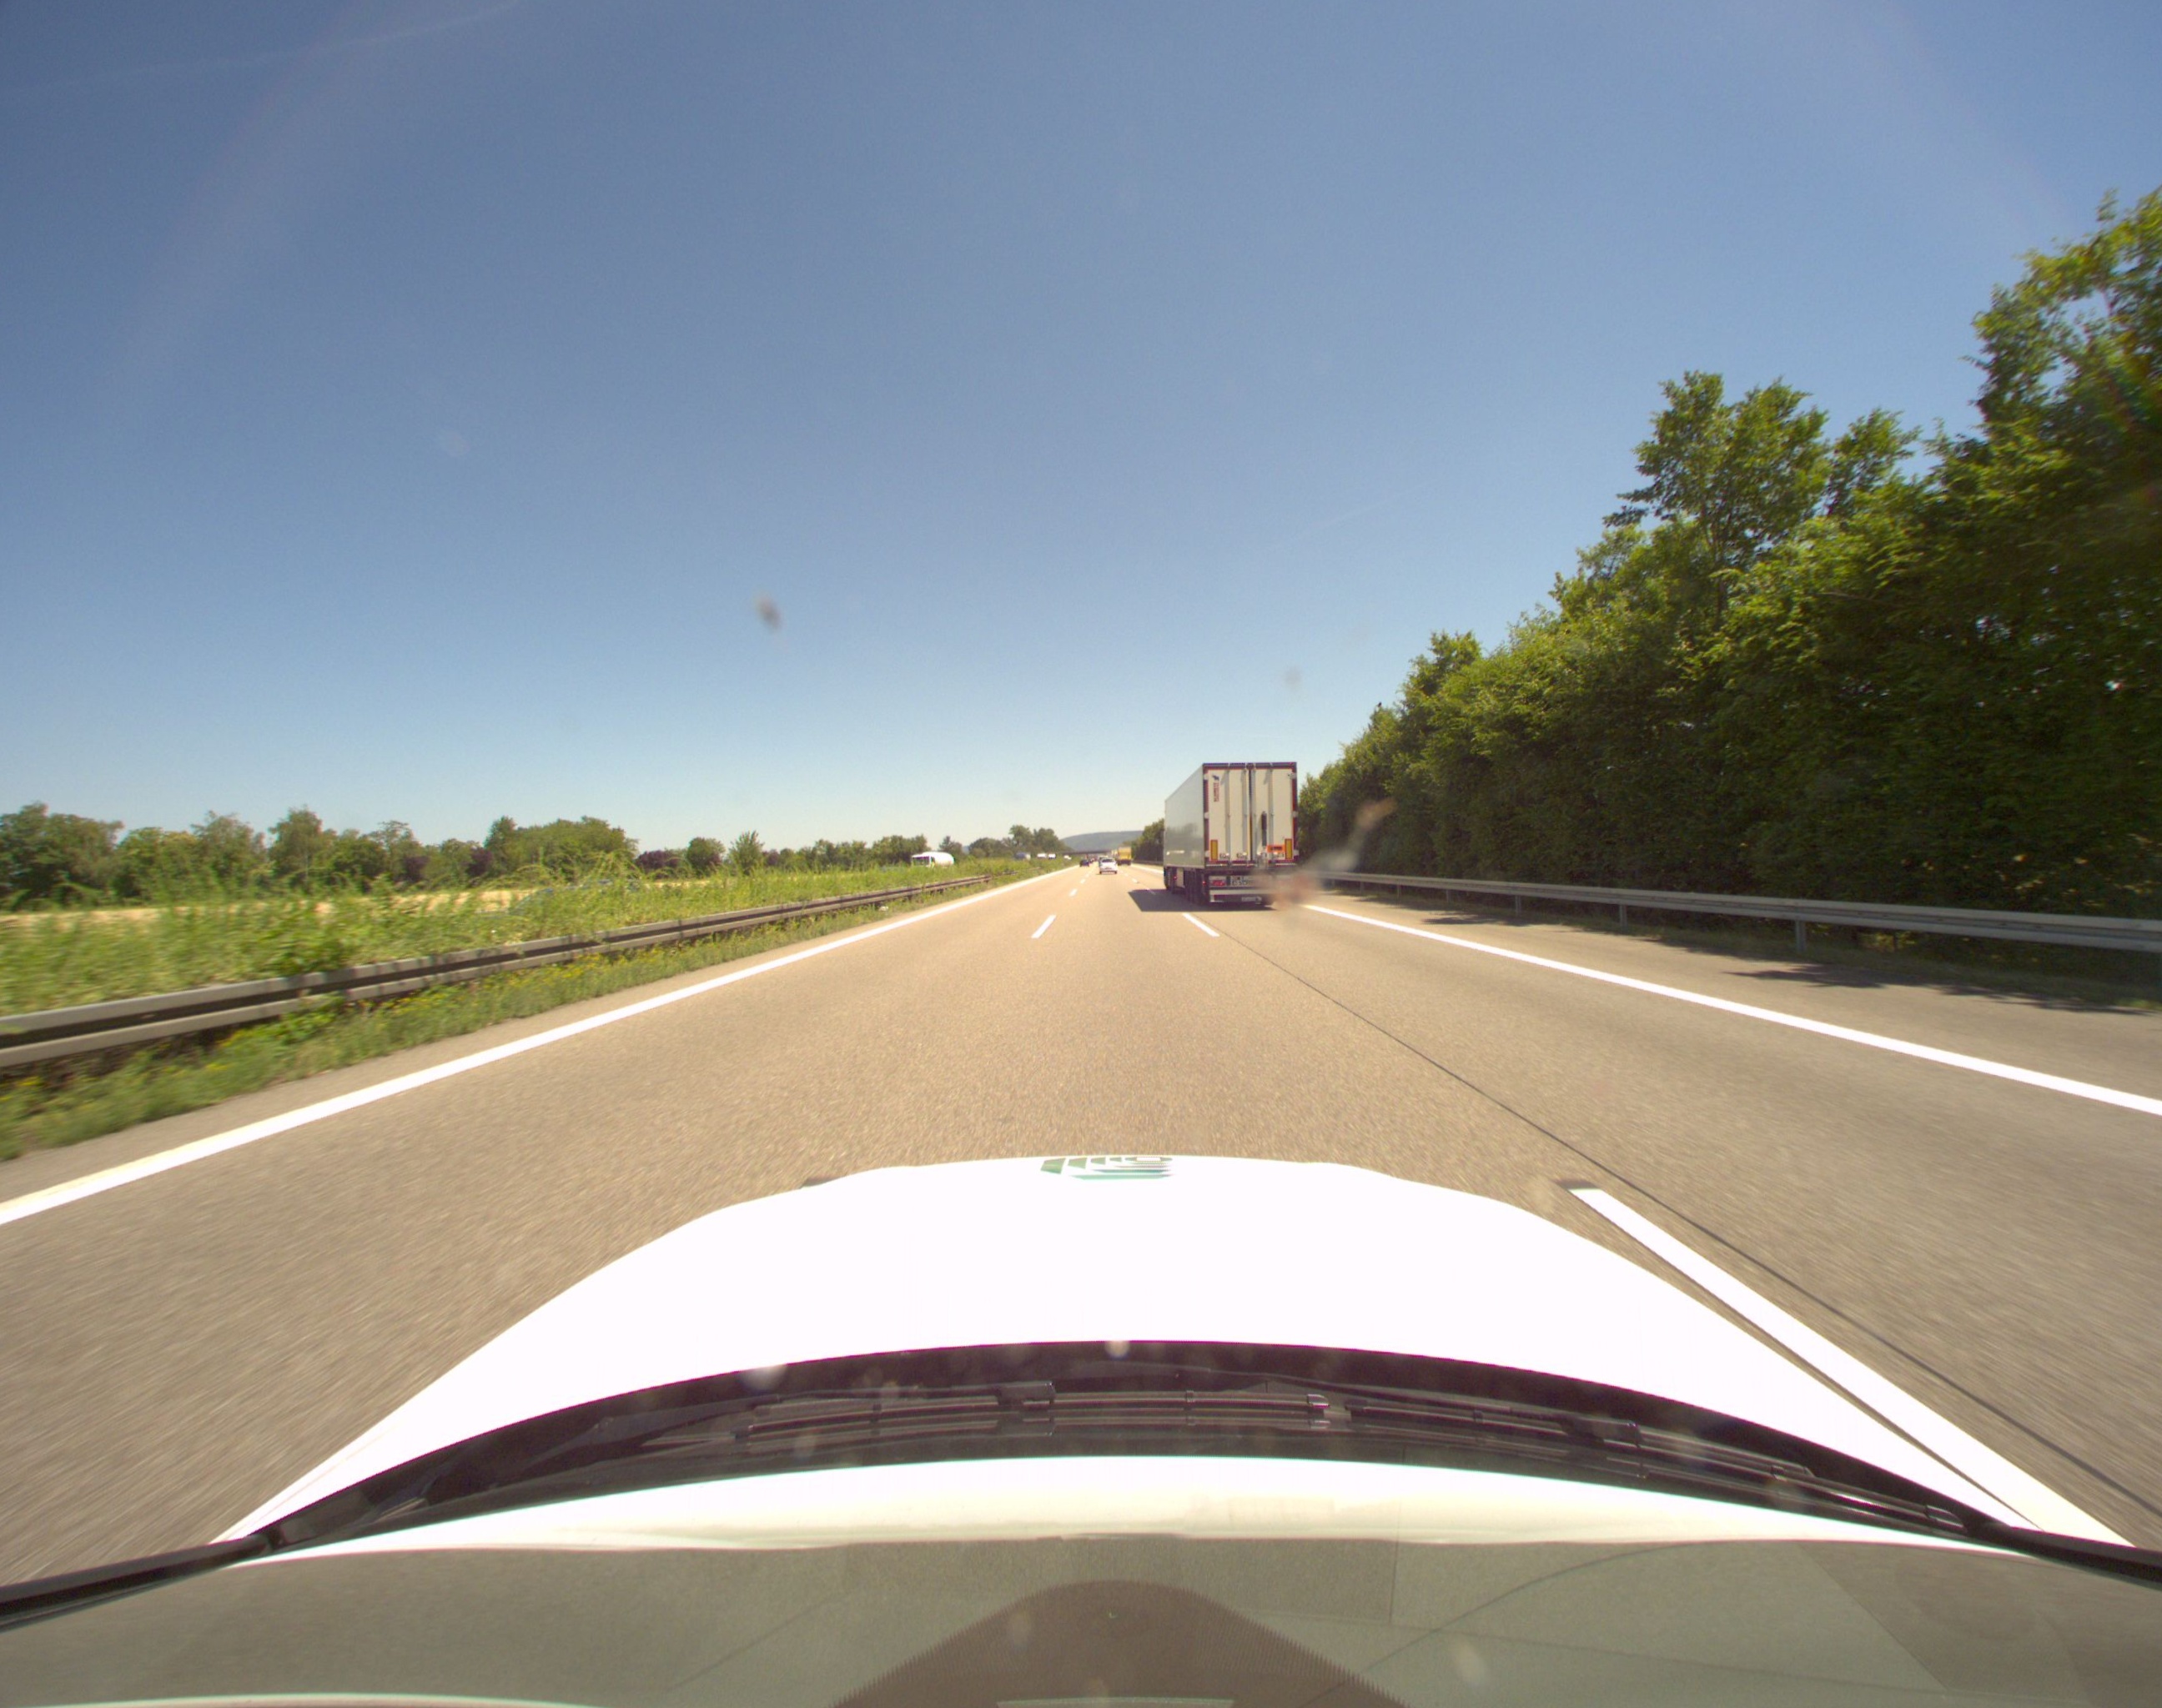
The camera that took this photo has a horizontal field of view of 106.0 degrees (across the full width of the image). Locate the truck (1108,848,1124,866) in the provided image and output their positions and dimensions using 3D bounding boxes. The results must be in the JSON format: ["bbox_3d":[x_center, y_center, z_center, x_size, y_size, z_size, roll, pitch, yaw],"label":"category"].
[{"bbox_3d":[9.650,0.886,225.449,4.255,4.652,13.866,-1,0,2],"label":"truck"}]

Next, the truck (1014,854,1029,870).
[{"bbox_3d":[-15.077,1.939,206.107,3.123,3.832,5.835,-2,0,1],"label":"truck"}]

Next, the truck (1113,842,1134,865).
[{"bbox_3d":[8.579,-0.138,165.796,3.857,4.345,13.866,0,0,2],"label":"truck"}]

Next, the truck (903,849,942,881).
[{"bbox_3d":[-18.124,1.213,93.241,3.216,3.516,5.435,-2,0,1],"label":"truck"}]

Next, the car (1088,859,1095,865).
[{"bbox_3d":[3.005,2.317,233.271,1.788,1.551,4.002,-1,0,2],"label":"car"}]

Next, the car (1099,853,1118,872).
[{"bbox_3d":[2.582,0.778,78.177,1.726,1.684,4.001,-2,0,1],"label":"car"}]

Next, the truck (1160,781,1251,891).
[{"bbox_3d":[5.253,-0.710,35.586,3.205,4.345,6.595,0,0,2],"label":"truck"}]

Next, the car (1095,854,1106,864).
[{"bbox_3d":[3.444,0.939,142.920,1.780,1.712,4.001,0,0,1],"label":"car"}]

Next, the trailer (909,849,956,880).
[{"bbox_3d":[-17.988,1.244,99.392,3.216,3.516,11.772,-2,0,1],"label":"trailer"}]

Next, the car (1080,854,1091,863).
[{"bbox_3d":[0.804,0.838,151.592,1.986,1.712,4.001,0,0,1],"label":"car"}]

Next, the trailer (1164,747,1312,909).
[{"bbox_3d":[4.930,-0.708,28.825,3.205,4.345,13.638,0,0,3],"label":"trailer"}]
